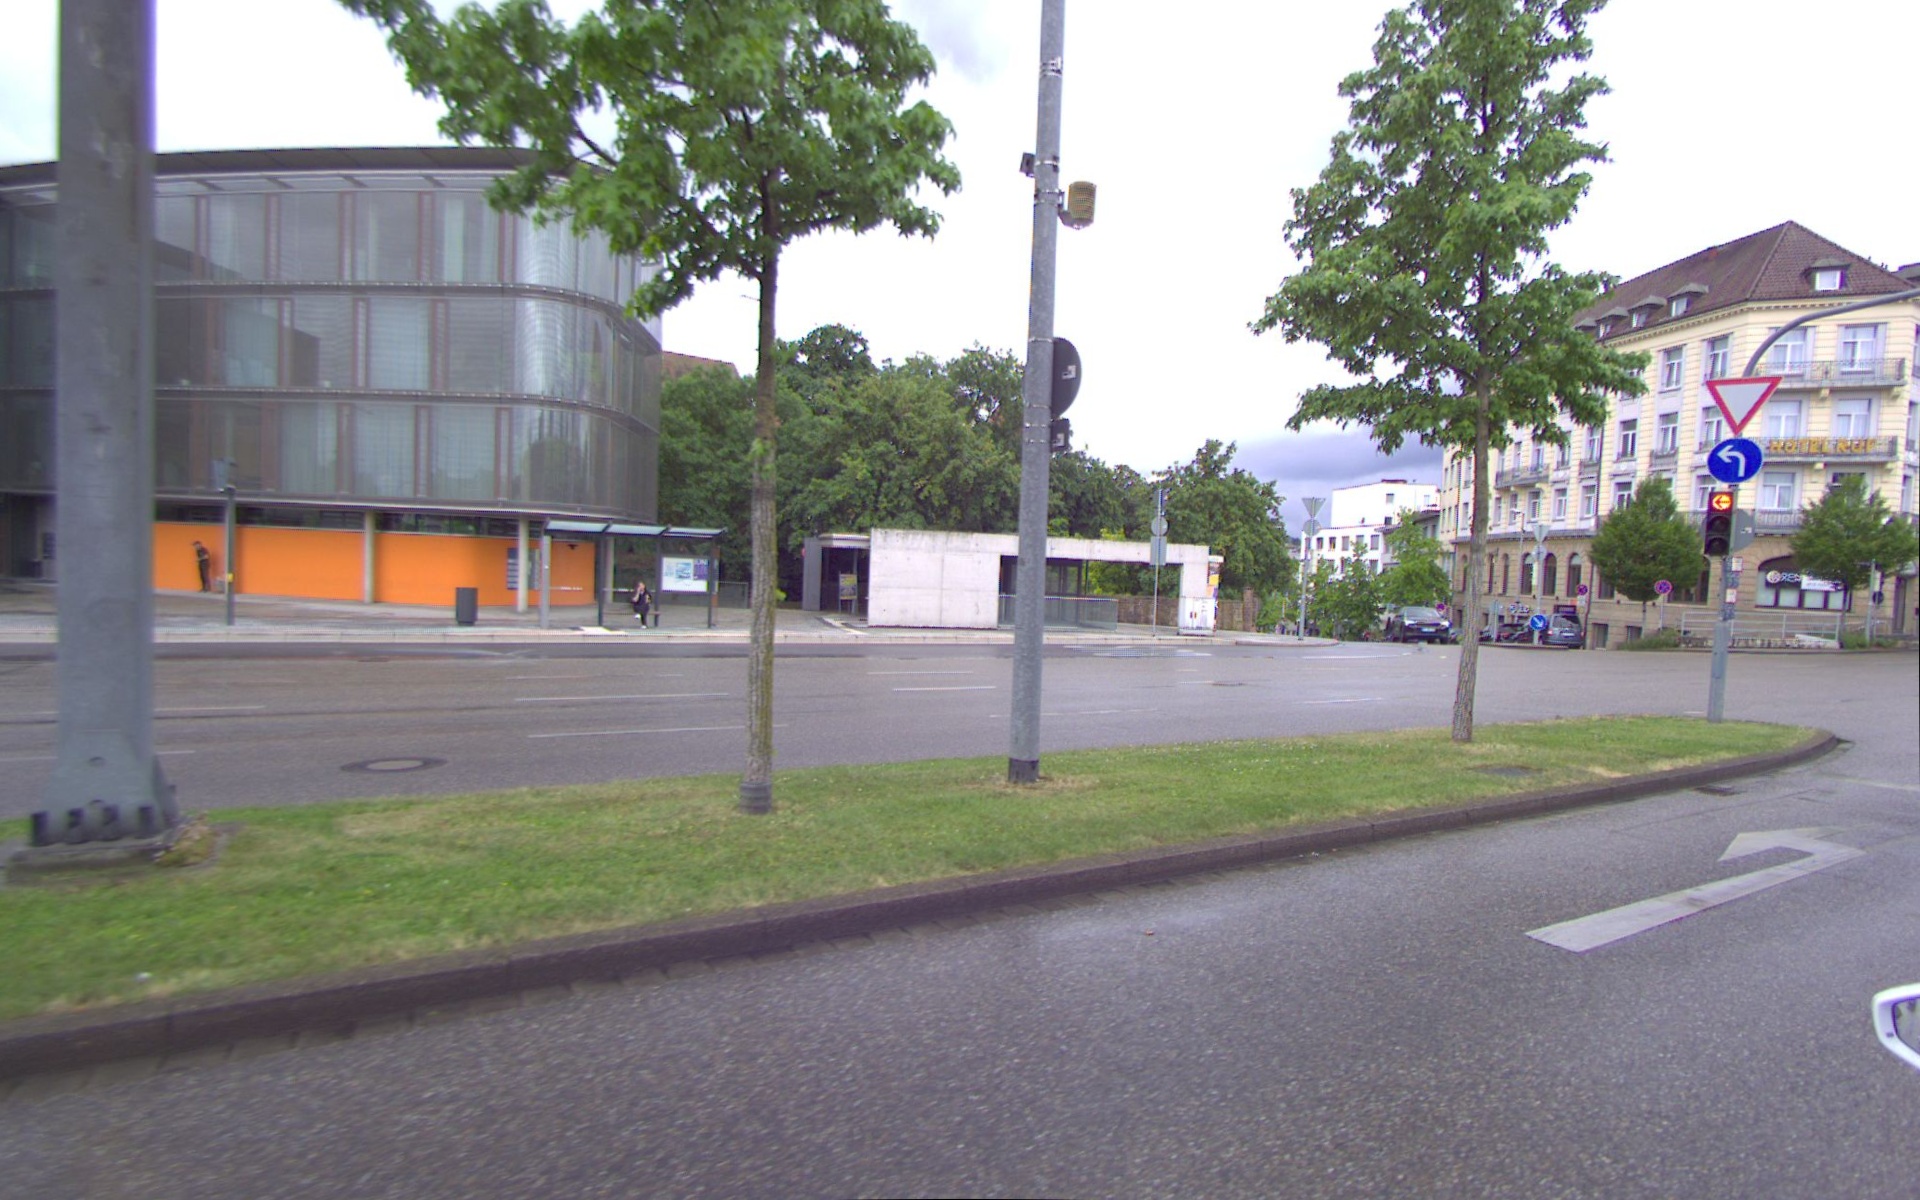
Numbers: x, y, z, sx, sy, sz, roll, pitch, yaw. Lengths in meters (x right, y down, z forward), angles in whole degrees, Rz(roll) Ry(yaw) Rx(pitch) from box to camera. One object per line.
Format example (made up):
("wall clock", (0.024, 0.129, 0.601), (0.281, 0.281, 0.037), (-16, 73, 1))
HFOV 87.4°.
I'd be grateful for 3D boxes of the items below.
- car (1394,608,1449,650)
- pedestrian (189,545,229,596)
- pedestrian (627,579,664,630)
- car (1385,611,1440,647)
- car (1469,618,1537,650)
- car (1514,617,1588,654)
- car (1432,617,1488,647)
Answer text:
("car", (20.099, 1.215, 43.897), (1.792, 1.662, 4.599), (2, 1, 20))
("pedestrian", (-25.236, -0.998, 33.764), (0.834, 1.675, 0.708), (1, 1, 13))
("pedestrian", (-8.450, 0.110, 26.985), (0.780, 1.341, 0.798), (1, 0, -29))
("car", (27.392, 1.725, 60.933), (1.959, 2.040, 4.002), (2, 1, 8))
("car", (30.446, 1.874, 56.441), (1.959, 1.662, 4.002), (2, -1, 6))
("car", (29.296, 1.725, 49.930), (1.764, 1.589, 4.002), (2, 1, 9))
("car", (30.682, 1.939, 61.740), (1.757, 1.662, 3.916), (2, 1, 6))
